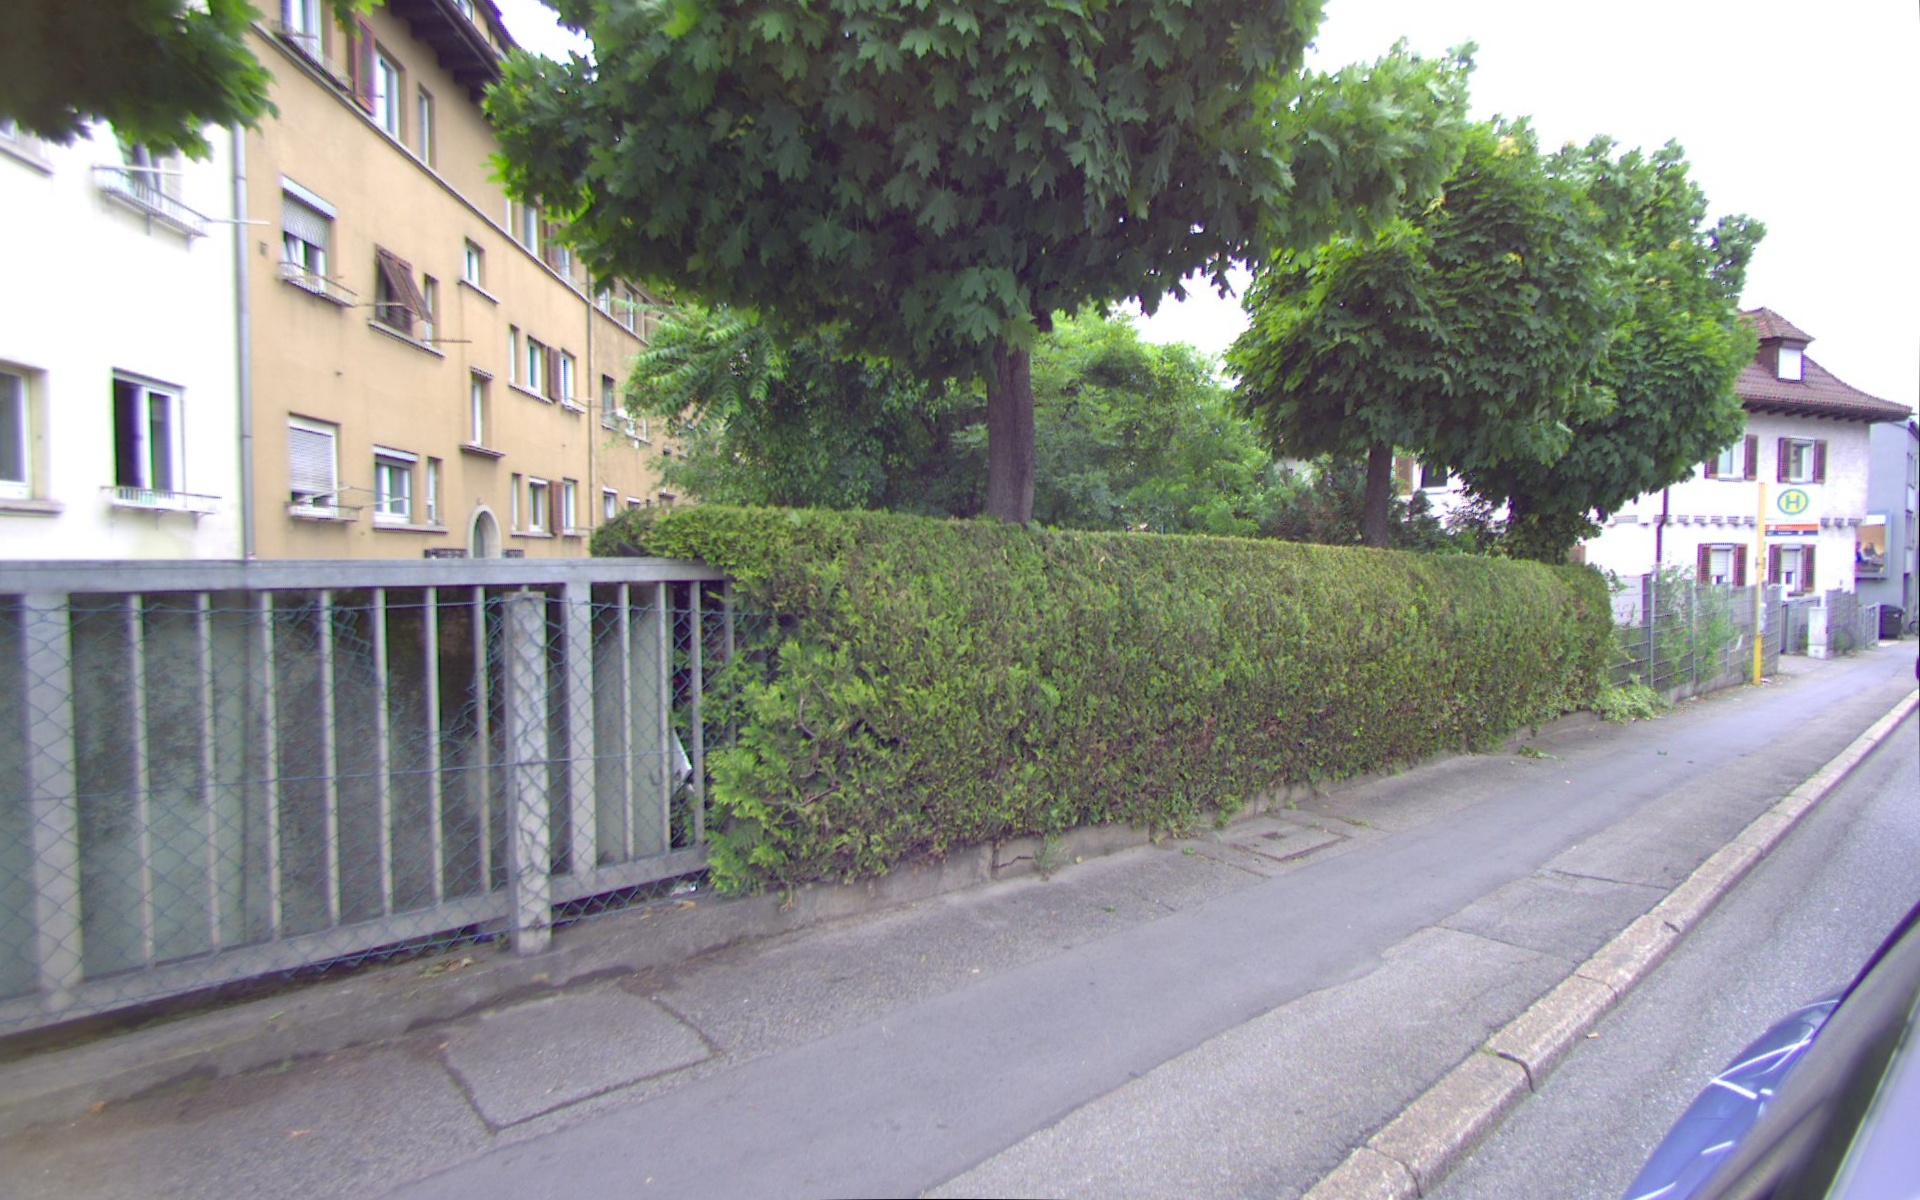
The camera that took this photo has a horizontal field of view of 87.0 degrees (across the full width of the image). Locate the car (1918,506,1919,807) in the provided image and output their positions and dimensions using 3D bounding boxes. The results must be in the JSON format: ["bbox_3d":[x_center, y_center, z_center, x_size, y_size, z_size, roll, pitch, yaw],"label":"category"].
[{"bbox_3d":[5.810,0.543,4.461,4.629,1.804,1.861,-1,0,-41],"label":"car"}]

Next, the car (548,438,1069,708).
[{"bbox_3d":[-0.964,-0.168,7.325,3.381,1.478,1.698,-1,0,-43],"label":"car"}]
